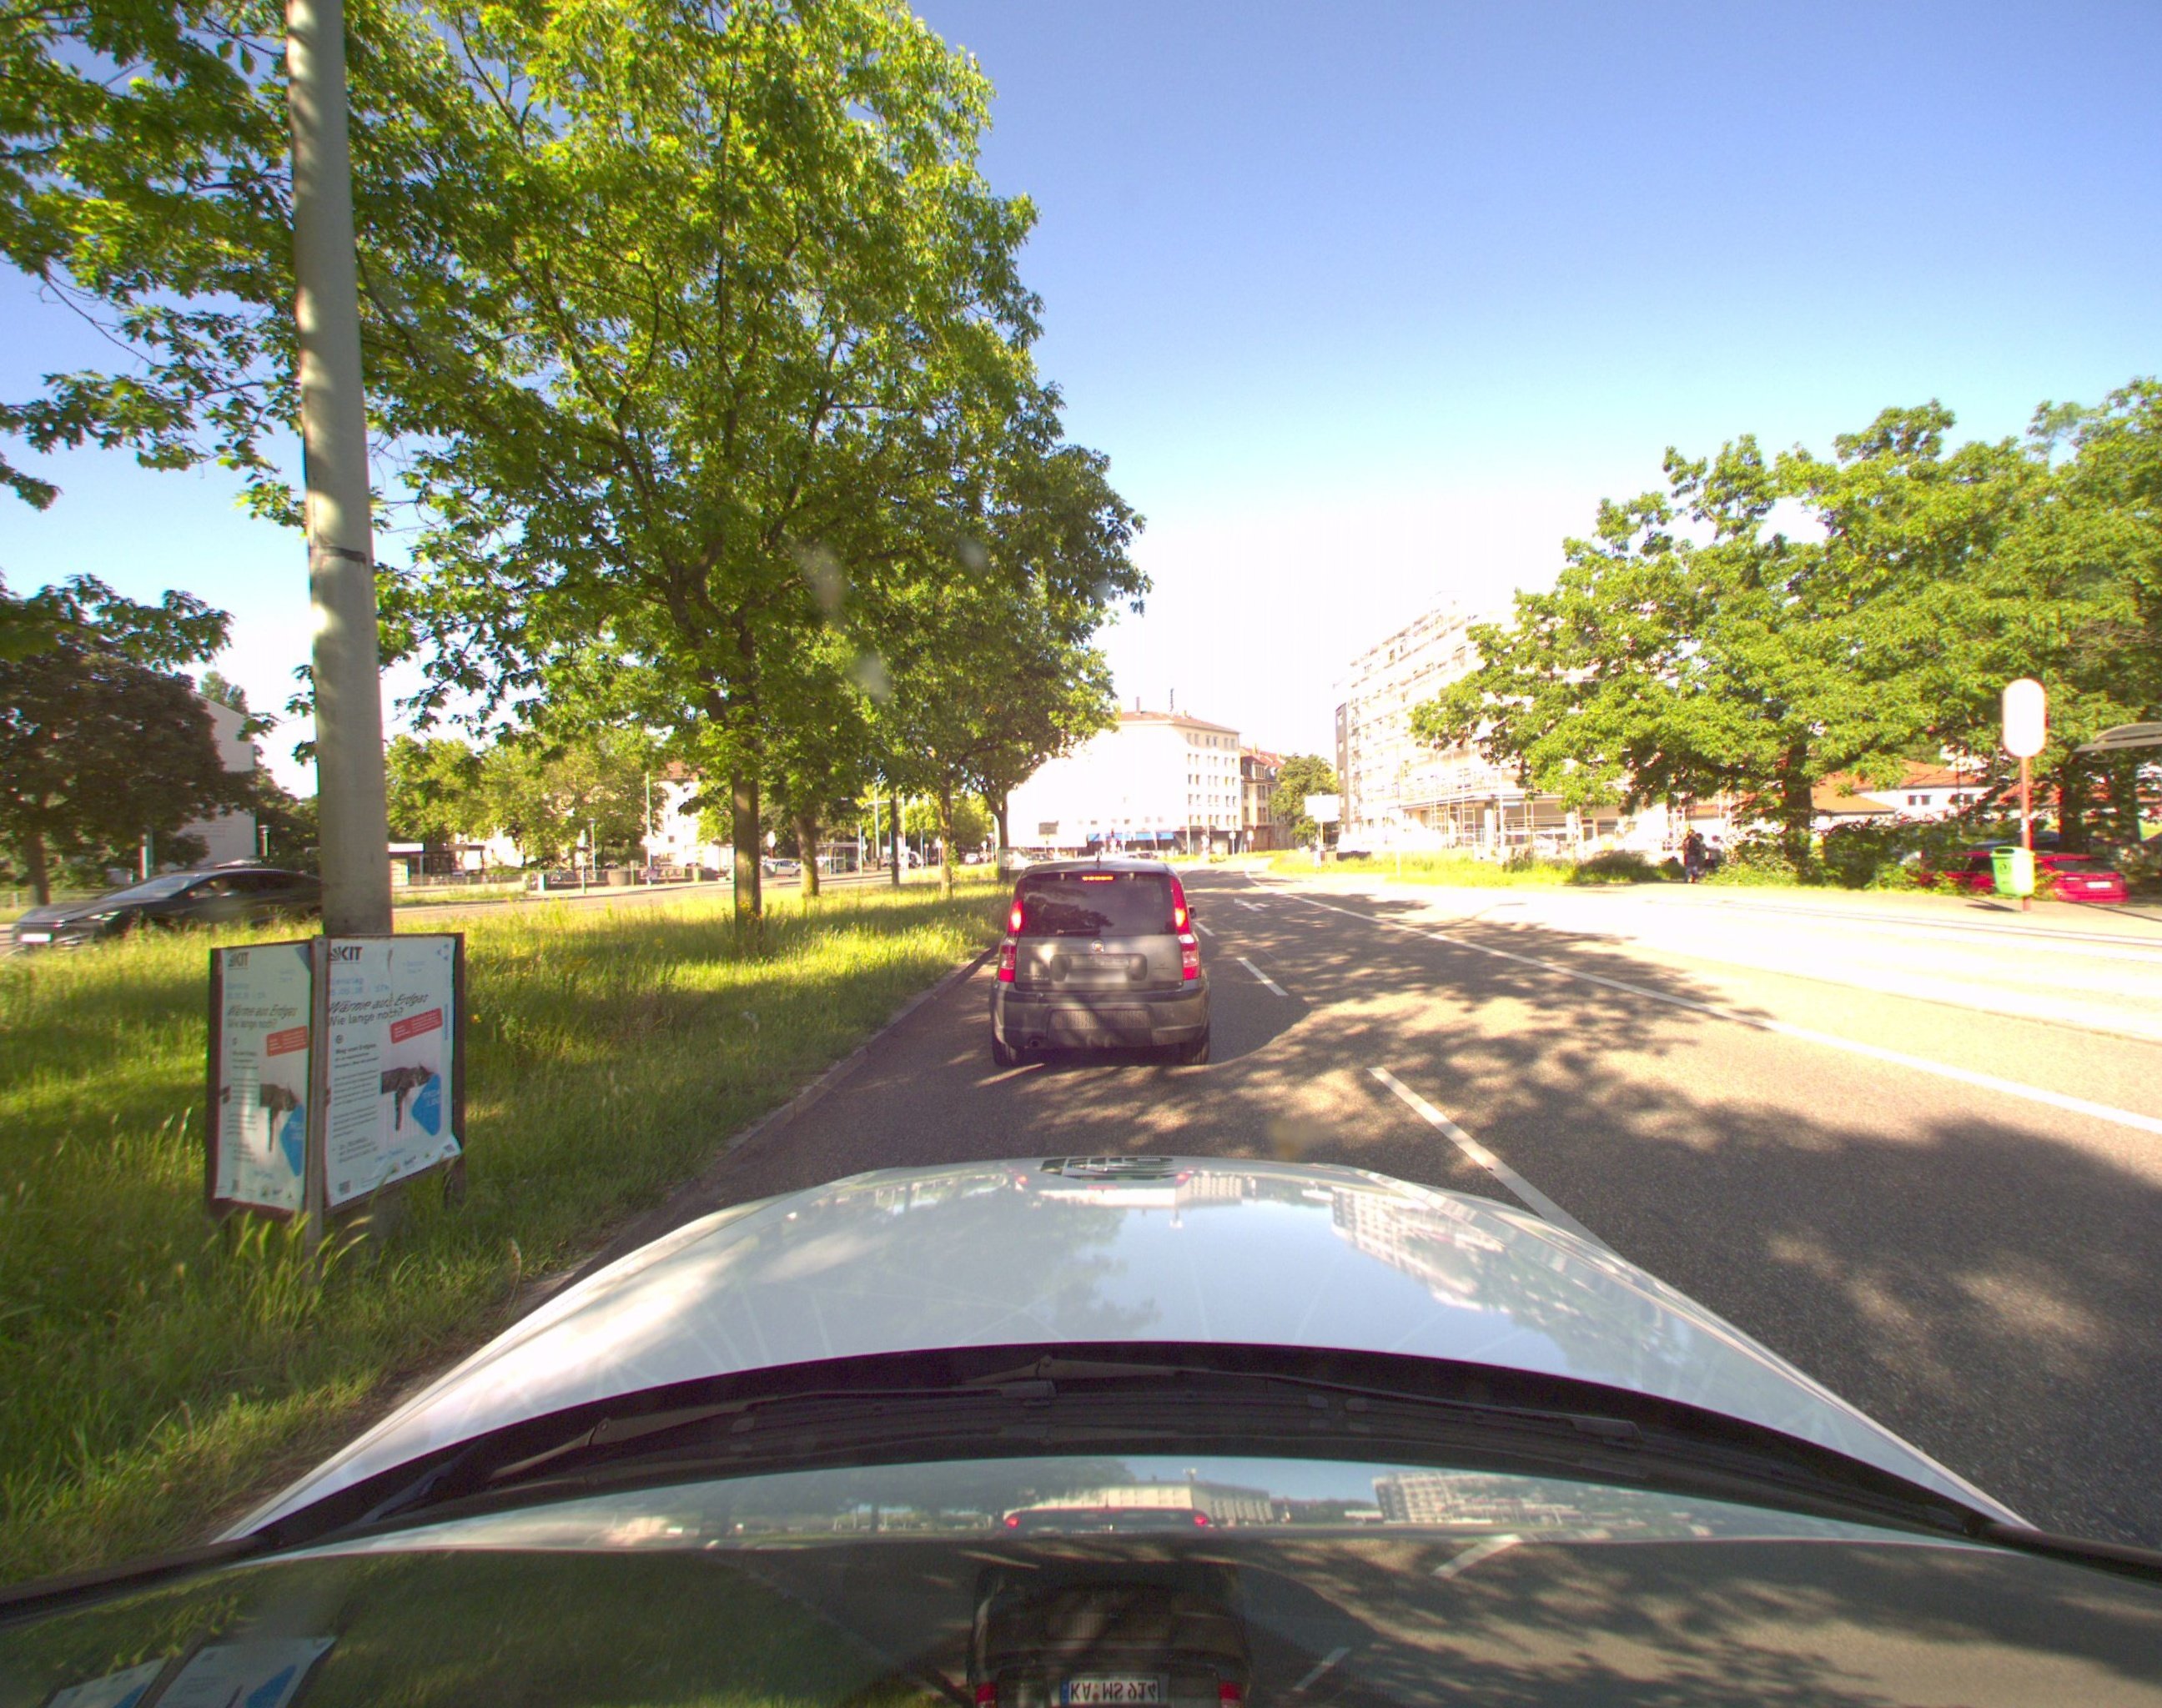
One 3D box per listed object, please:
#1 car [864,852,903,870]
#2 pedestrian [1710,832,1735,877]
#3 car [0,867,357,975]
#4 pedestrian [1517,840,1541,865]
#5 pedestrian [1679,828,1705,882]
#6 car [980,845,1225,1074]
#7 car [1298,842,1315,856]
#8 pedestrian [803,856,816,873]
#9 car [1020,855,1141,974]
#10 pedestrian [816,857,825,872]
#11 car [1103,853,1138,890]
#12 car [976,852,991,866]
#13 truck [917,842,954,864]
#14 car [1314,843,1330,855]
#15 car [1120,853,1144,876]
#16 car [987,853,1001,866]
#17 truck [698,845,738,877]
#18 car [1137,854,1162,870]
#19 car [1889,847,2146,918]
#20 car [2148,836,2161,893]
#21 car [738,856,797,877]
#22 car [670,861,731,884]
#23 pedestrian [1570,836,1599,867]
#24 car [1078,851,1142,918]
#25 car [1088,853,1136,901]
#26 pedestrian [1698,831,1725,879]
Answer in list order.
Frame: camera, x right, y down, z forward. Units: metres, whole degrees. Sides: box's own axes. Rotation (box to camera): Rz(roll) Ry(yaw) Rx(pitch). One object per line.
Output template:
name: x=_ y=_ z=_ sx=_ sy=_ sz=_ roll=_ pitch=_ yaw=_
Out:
car: x=-23.944 y=0.890 z=98.757 sx=4.164 sy=2.013 sz=1.931 roll=-2 pitch=0 yaw=-1
pedestrian: x=20.901 y=0.015 z=26.551 sx=0.516 sy=1.447 sz=0.595 roll=-2 pitch=0 yaw=28
car: x=-16.952 y=1.147 z=15.616 sx=1.817 sy=1.647 sz=4.469 roll=-2 pitch=0 yaw=7
pedestrian: x=26.023 y=-0.085 z=47.297 sx=0.899 sy=1.447 sz=0.955 roll=-2 pitch=0 yaw=-38
pedestrian: x=18.523 y=0.014 z=24.708 sx=0.516 sy=1.612 sz=0.595 roll=-2 pitch=0 yaw=28
car: x=0.208 y=0.705 z=7.537 sx=1.622 sy=1.508 sz=4.002 roll=-2 pitch=0 yaw=2
car: x=24.916 y=-0.541 z=90.000 sx=1.669 sy=1.449 sz=3.588 roll=-2 pitch=0 yaw=18
pedestrian: x=-26.179 y=1.025 z=78.623 sx=0.910 sy=1.607 sz=0.802 roll=-2 pitch=0 yaw=41
car: x=0.053 y=0.750 z=11.765 sx=1.458 sy=1.401 sz=3.395 roll=-2 pitch=0 yaw=2
pedestrian: x=-23.377 y=0.939 z=73.116 sx=0.411 sy=1.391 sz=0.630 roll=-2 pitch=0 yaw=28
car: x=1.604 y=0.693 z=33.970 sx=1.351 sy=1.449 sz=3.267 roll=-2 pitch=0 yaw=2
car: x=-14.841 y=0.705 z=124.162 sx=1.988 sy=2.013 sz=3.997 roll=-2 pitch=0 yaw=-2
truck: x=-23.007 y=-0.147 z=128.573 sx=5.425 sy=3.168 sz=2.358 roll=-2 pitch=0 yaw=30
car: x=27.627 y=-0.592 z=93.430 sx=1.514 sy=1.314 sz=3.304 roll=-2 pitch=0 yaw=20
car: x=3.098 y=0.620 z=49.680 sx=1.351 sy=1.281 sz=2.877 roll=-2 pitch=0 yaw=2
car: x=-14.261 y=0.888 z=133.872 sx=1.988 sy=2.013 sz=3.997 roll=-2 pitch=0 yaw=-2
truck: x=-33.074 y=0.631 z=74.205 sx=2.012 sy=2.805 sz=3.951 roll=-2 pitch=0 yaw=-44
car: x=4.867 y=0.574 z=57.719 sx=1.133 sy=1.064 sz=2.735 roll=-2 pitch=0 yaw=19
car: x=21.990 y=0.599 z=19.378 sx=1.747 sy=1.486 sz=3.743 roll=-2 pitch=0 yaw=-2
car: x=29.865 y=0.244 z=20.181 sx=1.911 sy=1.486 sz=3.725 roll=-2 pitch=0 yaw=-17
car: x=-27.317 y=1.068 z=71.069 sx=1.974 sy=1.684 sz=4.348 roll=-2 pitch=0 yaw=40
car: x=-31.193 y=1.502 z=66.833 sx=1.974 sy=1.684 sz=4.025 roll=-2 pitch=0 yaw=40
pedestrian: x=27.199 y=-0.125 z=43.999 sx=0.893 sy=1.653 sz=0.978 roll=-2 pitch=0 yaw=-28
car: x=0.729 y=0.700 z=20.797 sx=1.458 sy=1.508 sz=3.506 roll=-2 pitch=1 yaw=2
car: x=1.032 y=0.728 z=27.400 sx=1.458 sy=1.424 sz=3.383 roll=-2 pitch=1 yaw=2
pedestrian: x=19.200 y=0.023 z=24.803 sx=0.516 sy=1.447 sz=0.595 roll=-2 pitch=0 yaw=28
